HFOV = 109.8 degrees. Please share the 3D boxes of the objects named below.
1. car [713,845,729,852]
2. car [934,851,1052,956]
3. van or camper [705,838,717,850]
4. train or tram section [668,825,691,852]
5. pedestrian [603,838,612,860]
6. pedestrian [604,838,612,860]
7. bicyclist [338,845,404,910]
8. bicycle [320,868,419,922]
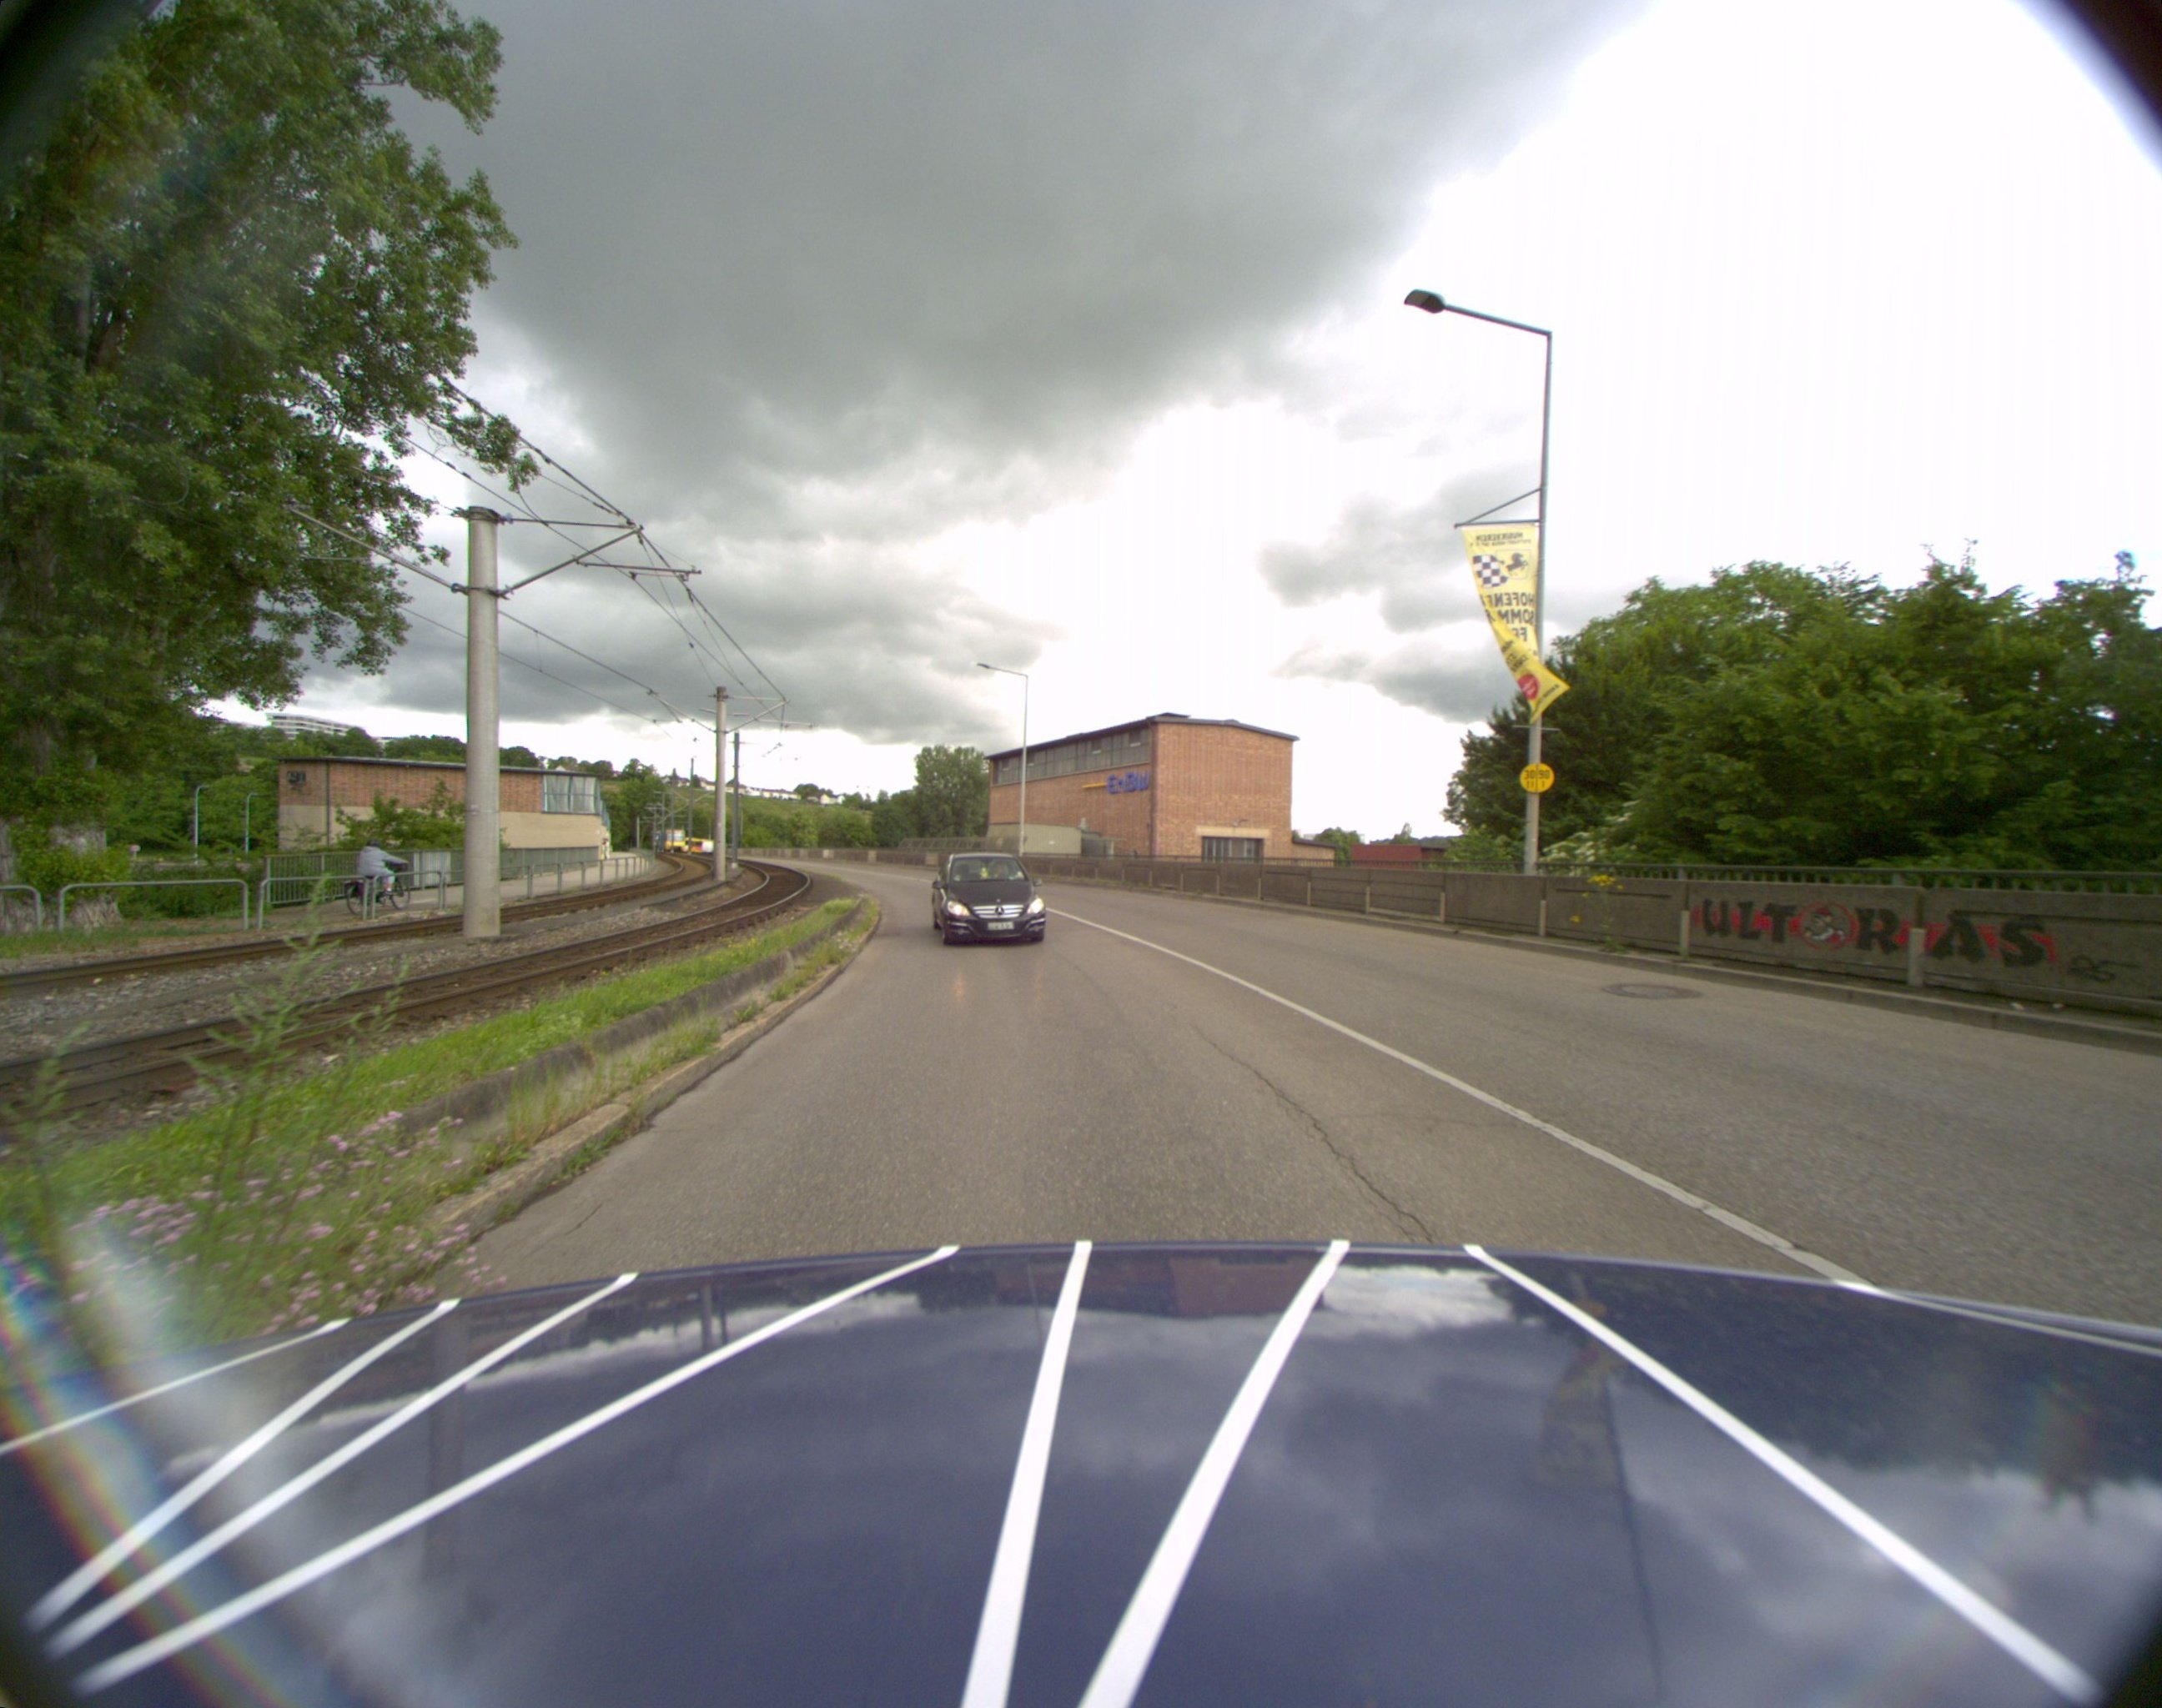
[{"bbox_3d":[-82.578,-1.211,174.280,1.999,1.565,3.997,0,2,-3],"label":"car"},{"bbox_3d":[-1.798,0.795,14.311,1.862,1.612,3.995,0,1,-12],"label":"car"},{"bbox_3d":[-76.596,-2.156,157.252,2.160,2.461,4.700,-1,1,-25],"label":"van or camper"},{"bbox_3d":[-62.950,-2.429,119.154,3.037,3.896,9.418,0,1,-29],"label":"train or tram section"},{"bbox_3d":[-35.637,-0.358,57.190,0.512,1.655,0.351,0,2,-36],"label":"pedestrian"},{"bbox_3d":[-35.412,-0.382,56.875,0.512,1.655,0.351,0,2,-36],"label":"pedestrian"},{"bbox_3d":[-15.342,0.492,16.441,0.595,1.352,0.910,-1,1,-9],"label":"bicyclist"},{"bbox_3d":[-15.359,0.843,16.474,0.427,1.044,2.078,-1,0,-9],"label":"bicycle"}]
